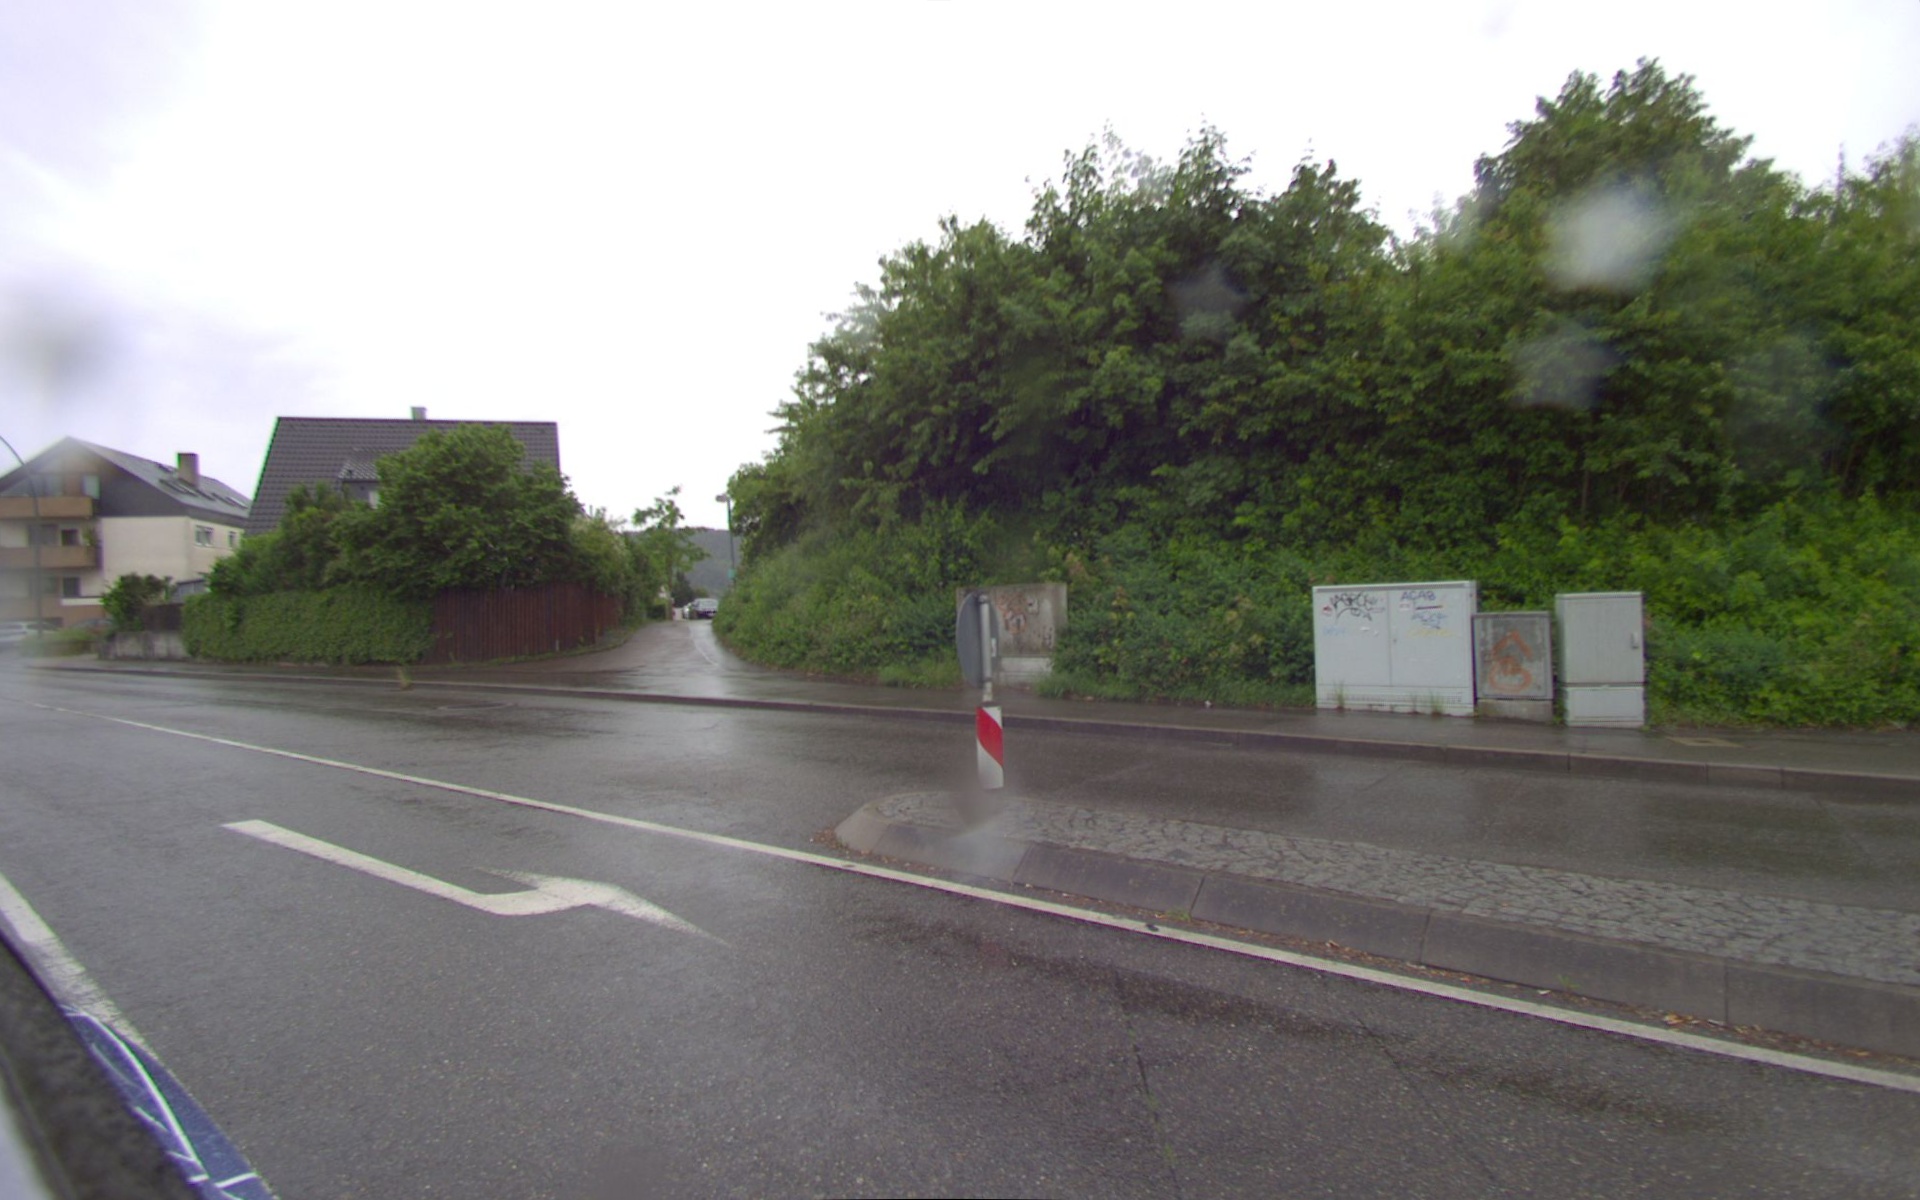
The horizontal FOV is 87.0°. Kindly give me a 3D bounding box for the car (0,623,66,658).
[{"bbox_3d":[-47.412,2.021,51.238,1.638,1.558,4.012,-1,0,-16],"label":"car"}]

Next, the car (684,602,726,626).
[{"bbox_3d":[-16.720,0.912,66.349,1.867,1.494,4.013,-1,0,-26],"label":"car"}]

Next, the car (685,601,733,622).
[{"bbox_3d":[-18.509,0.853,74.580,1.967,1.497,4.009,-1,0,-37],"label":"car"}]
